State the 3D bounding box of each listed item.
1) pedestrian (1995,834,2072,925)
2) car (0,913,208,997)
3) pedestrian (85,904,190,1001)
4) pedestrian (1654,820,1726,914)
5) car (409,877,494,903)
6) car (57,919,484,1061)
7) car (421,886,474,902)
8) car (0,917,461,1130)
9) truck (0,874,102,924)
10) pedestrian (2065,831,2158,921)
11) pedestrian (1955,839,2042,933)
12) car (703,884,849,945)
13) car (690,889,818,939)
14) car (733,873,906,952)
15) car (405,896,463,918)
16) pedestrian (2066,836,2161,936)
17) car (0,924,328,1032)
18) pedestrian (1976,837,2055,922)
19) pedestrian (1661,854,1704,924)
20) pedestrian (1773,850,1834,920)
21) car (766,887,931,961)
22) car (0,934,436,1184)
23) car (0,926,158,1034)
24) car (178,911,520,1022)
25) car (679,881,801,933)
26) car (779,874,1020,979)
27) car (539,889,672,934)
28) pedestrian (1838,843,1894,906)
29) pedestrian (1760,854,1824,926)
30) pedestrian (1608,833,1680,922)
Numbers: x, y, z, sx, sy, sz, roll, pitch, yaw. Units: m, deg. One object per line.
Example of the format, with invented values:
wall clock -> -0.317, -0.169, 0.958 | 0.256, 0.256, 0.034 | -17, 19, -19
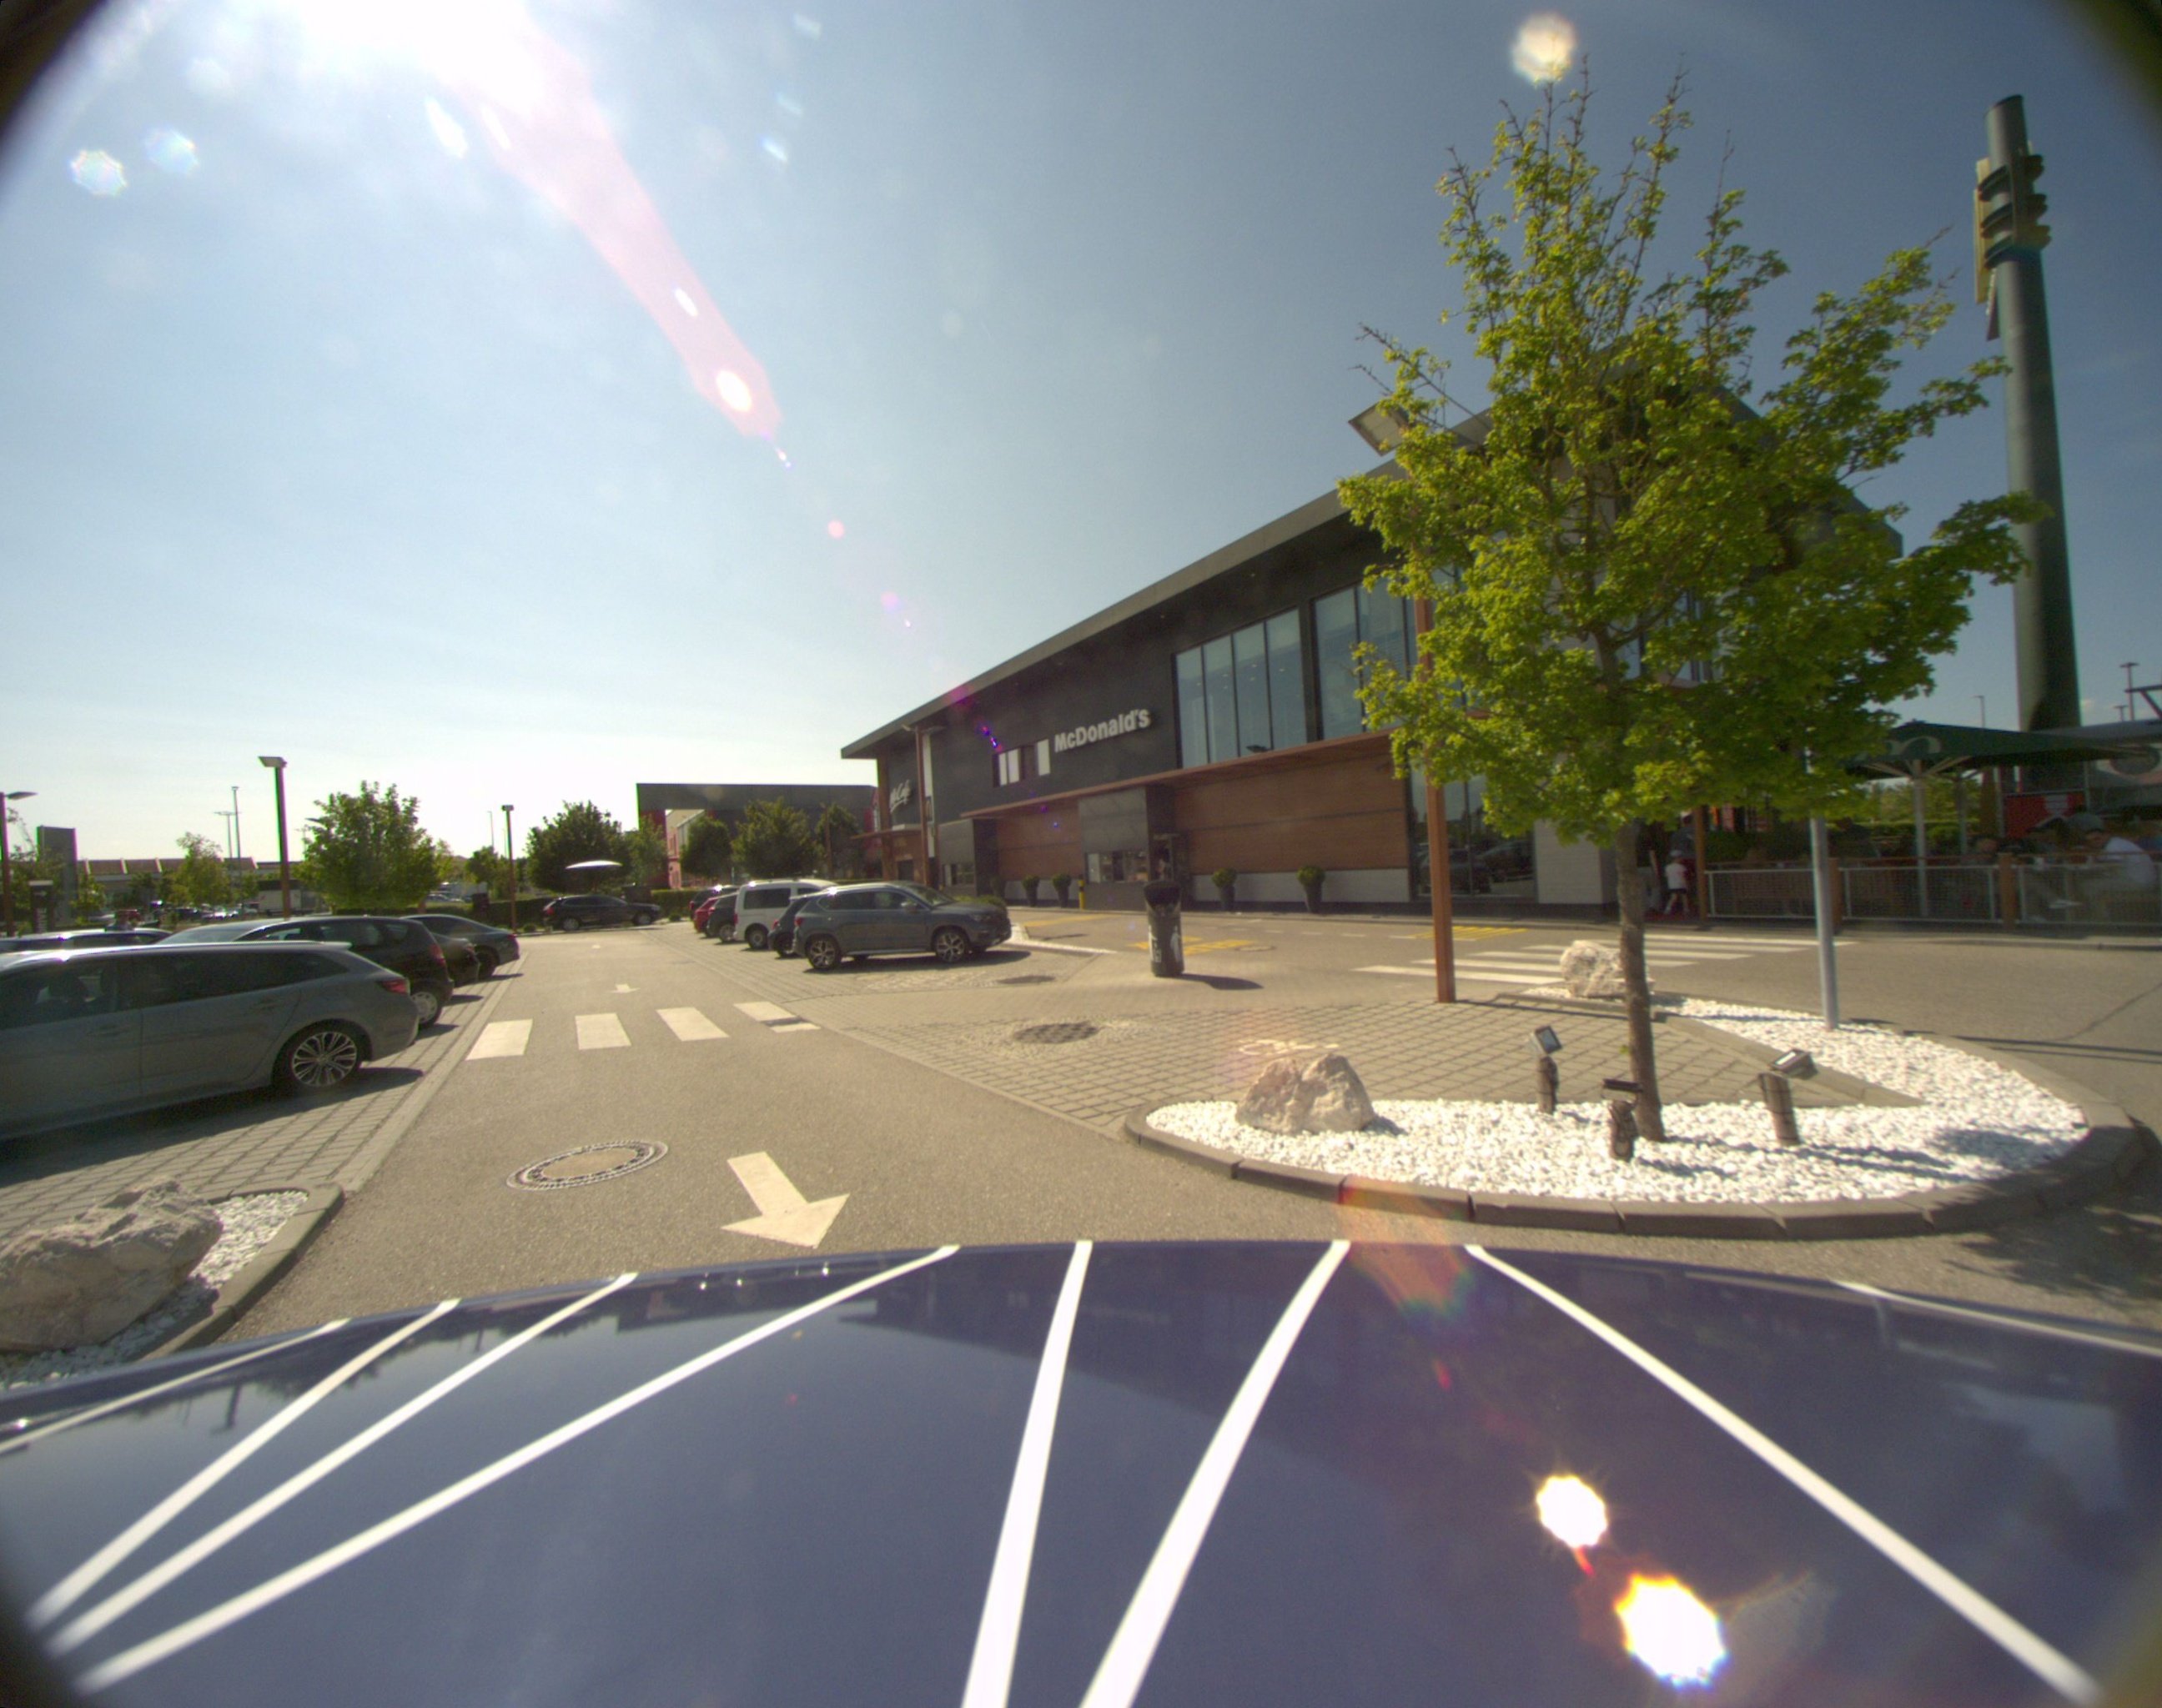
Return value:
pedestrian -> 13.637, 0.366, 10.885 | 0.525, 1.250, 0.633 | -3, -1, -38
car -> -21.632, 2.119, 15.971 | 1.703, 1.417, 3.908 | -3, -1, 13
pedestrian -> -19.987, 2.055, 16.134 | 1.030, 1.904, 0.901 | -3, 0, -22
pedestrian -> 11.786, 0.254, 14.702 | 0.805, 1.757, 0.894 | -3, -1, -43
car -> -65.182, 3.695, 78.882 | 6.583, 2.231, 2.295 | -2, -1, -35
car -> -11.950, 1.916, 11.674 | 1.826, 1.440, 4.080 | -3, -1, 13
car -> -63.575, 4.045, 76.321 | 3.914, 1.334, 1.661 | -2, -1, -35
car -> -10.064, 1.714, 8.889 | 1.809, 1.584, 4.004 | -3, -1, 14
truck -> -76.636, 3.318, 55.203 | 7.561, 3.332, 2.422 | -2, 0, -1
pedestrian -> 14.907, 0.314, 11.011 | 0.574, 1.250, 0.728 | -3, -1, -39
pedestrian -> 12.820, 0.438, 10.618 | 0.525, 1.250, 0.714 | -3, -1, -38
car -> -9.577, 1.894, 24.092 | 3.842, 1.622, 1.758 | -3, 0, 0
car -> -11.581, 2.108, 27.124 | 3.771, 1.435, 1.674 | -4, 0, -6
car -> -7.225, 1.588, 21.221 | 4.140, 1.910, 1.759 | -3, 0, 5
car -> -61.052, 4.983, 71.767 | 4.007, 1.717, 1.890 | -2, -1, -38
pedestrian -> 13.620, 0.417, 10.009 | 0.574, 1.250, 0.728 | -3, -1, -39
car -> -19.012, 2.437, 15.744 | 1.980, 1.502, 4.421 | -3, -1, 12
pedestrian -> 14.396, 0.390, 11.714 | 0.525, 1.250, 0.714 | -3, -1, -38
pedestrian -> 10.602, 0.611, 13.393 | 0.492, 1.179, 0.447 | -3, -1, -40
pedestrian -> 12.061, 0.513, 12.687 | 0.525, 1.117, 0.633 | -3, -1, -38
car -> -5.551, 1.661, 18.380 | 3.411, 1.473, 1.569 | -3, 0, 5
car -> -7.984, 1.525, 5.636 | 1.832, 1.438, 4.669 | -3, -2, 13
car -> -17.645, 2.061, 11.361 | 1.980, 1.502, 4.421 | -3, -1, 12
car -> -14.038, 2.078, 15.047 | 1.884, 1.502, 4.547 | -3, -1, 12
car -> -13.348, 2.053, 29.975 | 4.040, 1.696, 1.673 | -3, 0, -12
car -> -3.563, 1.423, 15.309 | 4.221, 1.594, 1.791 | -5, 1, 9
car -> -22.019, 2.612, 35.307 | 5.073, 1.620, 1.920 | -2, -1, -36
pedestrian -> 14.177, 0.364, 13.726 | 0.657, 1.094, 0.572 | -3, -1, -35
pedestrian -> 11.488, 0.578, 12.276 | 0.525, 1.117, 0.633 | -3, -1, -38
pedestrian -> 10.386, 0.426, 14.035 | 0.729, 1.574, 0.740 | -3, -1, -24
